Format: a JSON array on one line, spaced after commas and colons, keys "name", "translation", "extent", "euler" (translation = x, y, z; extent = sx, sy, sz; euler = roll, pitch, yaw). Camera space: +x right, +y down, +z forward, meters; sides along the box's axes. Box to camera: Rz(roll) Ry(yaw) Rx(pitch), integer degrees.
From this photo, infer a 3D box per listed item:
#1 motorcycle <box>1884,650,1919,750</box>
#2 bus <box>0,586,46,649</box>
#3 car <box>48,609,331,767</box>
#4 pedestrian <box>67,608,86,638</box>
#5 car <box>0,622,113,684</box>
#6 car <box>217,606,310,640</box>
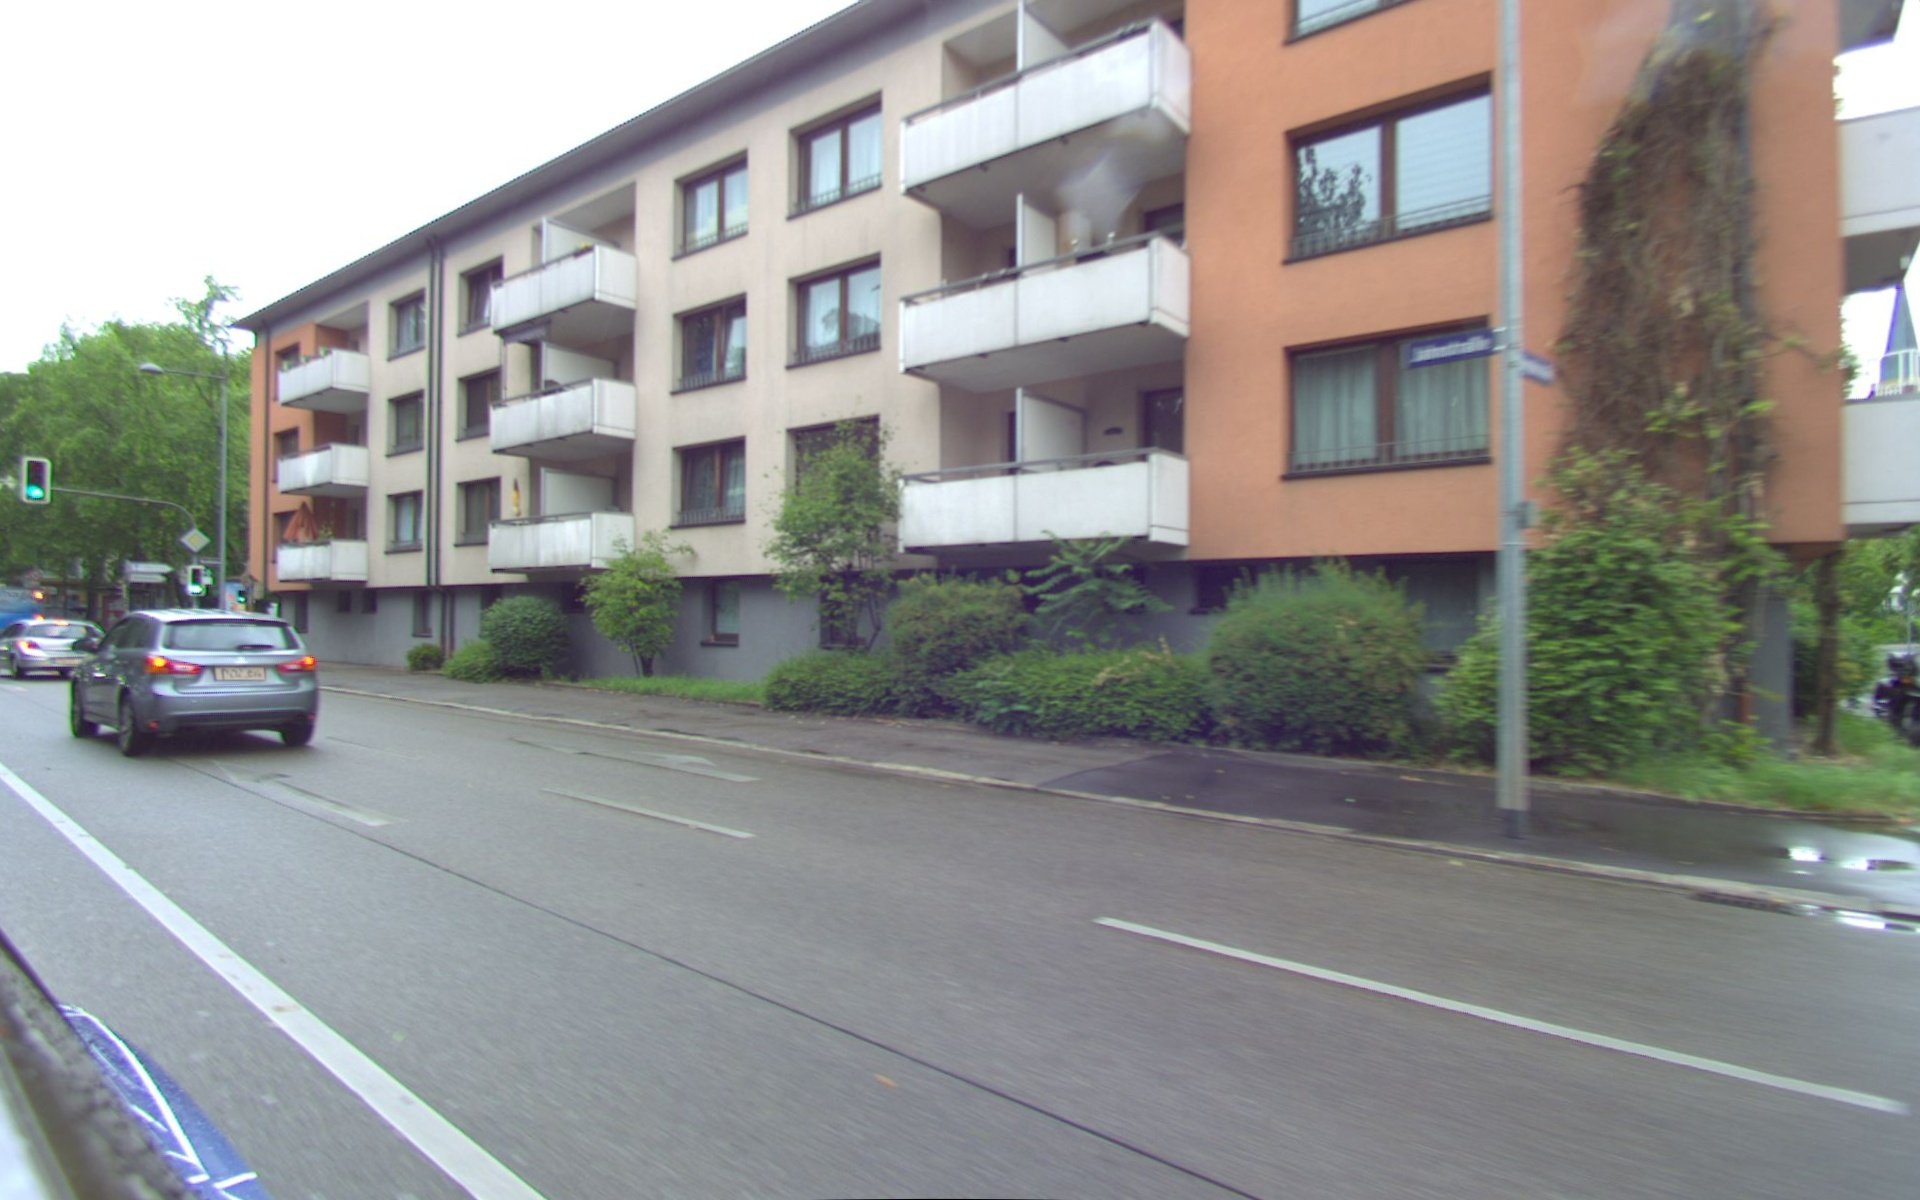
[{"name": "motorcycle", "translation": [13.269, 1.319, 13.738], "extent": [0.780, 1.273, 2.371], "euler": [-2, -3, 36]}, {"name": "bus", "translation": [-49.885, 0.841, 52.133], "extent": [12.079, 2.962, 2.665], "euler": [0, -2, 41]}, {"name": "car", "translation": [-9.413, 0.959, 12.251], "extent": [4.228, 1.591, 1.795], "euler": [-2, -3, 40]}, {"name": "pedestrian", "translation": [-52.849, 1.362, 60.533], "extent": [0.687, 1.782, 0.702], "euler": [0, 1, 41]}, {"name": "car", "translation": [-23.031, 1.300, 25.333], "extent": [4.039, 1.426, 1.797], "euler": [-1, -3, 35]}, {"name": "car", "translation": [-41.945, 1.409, 61.038], "extent": [1.701, 1.937, 4.280], "euler": [-1, -2, 38]}]
